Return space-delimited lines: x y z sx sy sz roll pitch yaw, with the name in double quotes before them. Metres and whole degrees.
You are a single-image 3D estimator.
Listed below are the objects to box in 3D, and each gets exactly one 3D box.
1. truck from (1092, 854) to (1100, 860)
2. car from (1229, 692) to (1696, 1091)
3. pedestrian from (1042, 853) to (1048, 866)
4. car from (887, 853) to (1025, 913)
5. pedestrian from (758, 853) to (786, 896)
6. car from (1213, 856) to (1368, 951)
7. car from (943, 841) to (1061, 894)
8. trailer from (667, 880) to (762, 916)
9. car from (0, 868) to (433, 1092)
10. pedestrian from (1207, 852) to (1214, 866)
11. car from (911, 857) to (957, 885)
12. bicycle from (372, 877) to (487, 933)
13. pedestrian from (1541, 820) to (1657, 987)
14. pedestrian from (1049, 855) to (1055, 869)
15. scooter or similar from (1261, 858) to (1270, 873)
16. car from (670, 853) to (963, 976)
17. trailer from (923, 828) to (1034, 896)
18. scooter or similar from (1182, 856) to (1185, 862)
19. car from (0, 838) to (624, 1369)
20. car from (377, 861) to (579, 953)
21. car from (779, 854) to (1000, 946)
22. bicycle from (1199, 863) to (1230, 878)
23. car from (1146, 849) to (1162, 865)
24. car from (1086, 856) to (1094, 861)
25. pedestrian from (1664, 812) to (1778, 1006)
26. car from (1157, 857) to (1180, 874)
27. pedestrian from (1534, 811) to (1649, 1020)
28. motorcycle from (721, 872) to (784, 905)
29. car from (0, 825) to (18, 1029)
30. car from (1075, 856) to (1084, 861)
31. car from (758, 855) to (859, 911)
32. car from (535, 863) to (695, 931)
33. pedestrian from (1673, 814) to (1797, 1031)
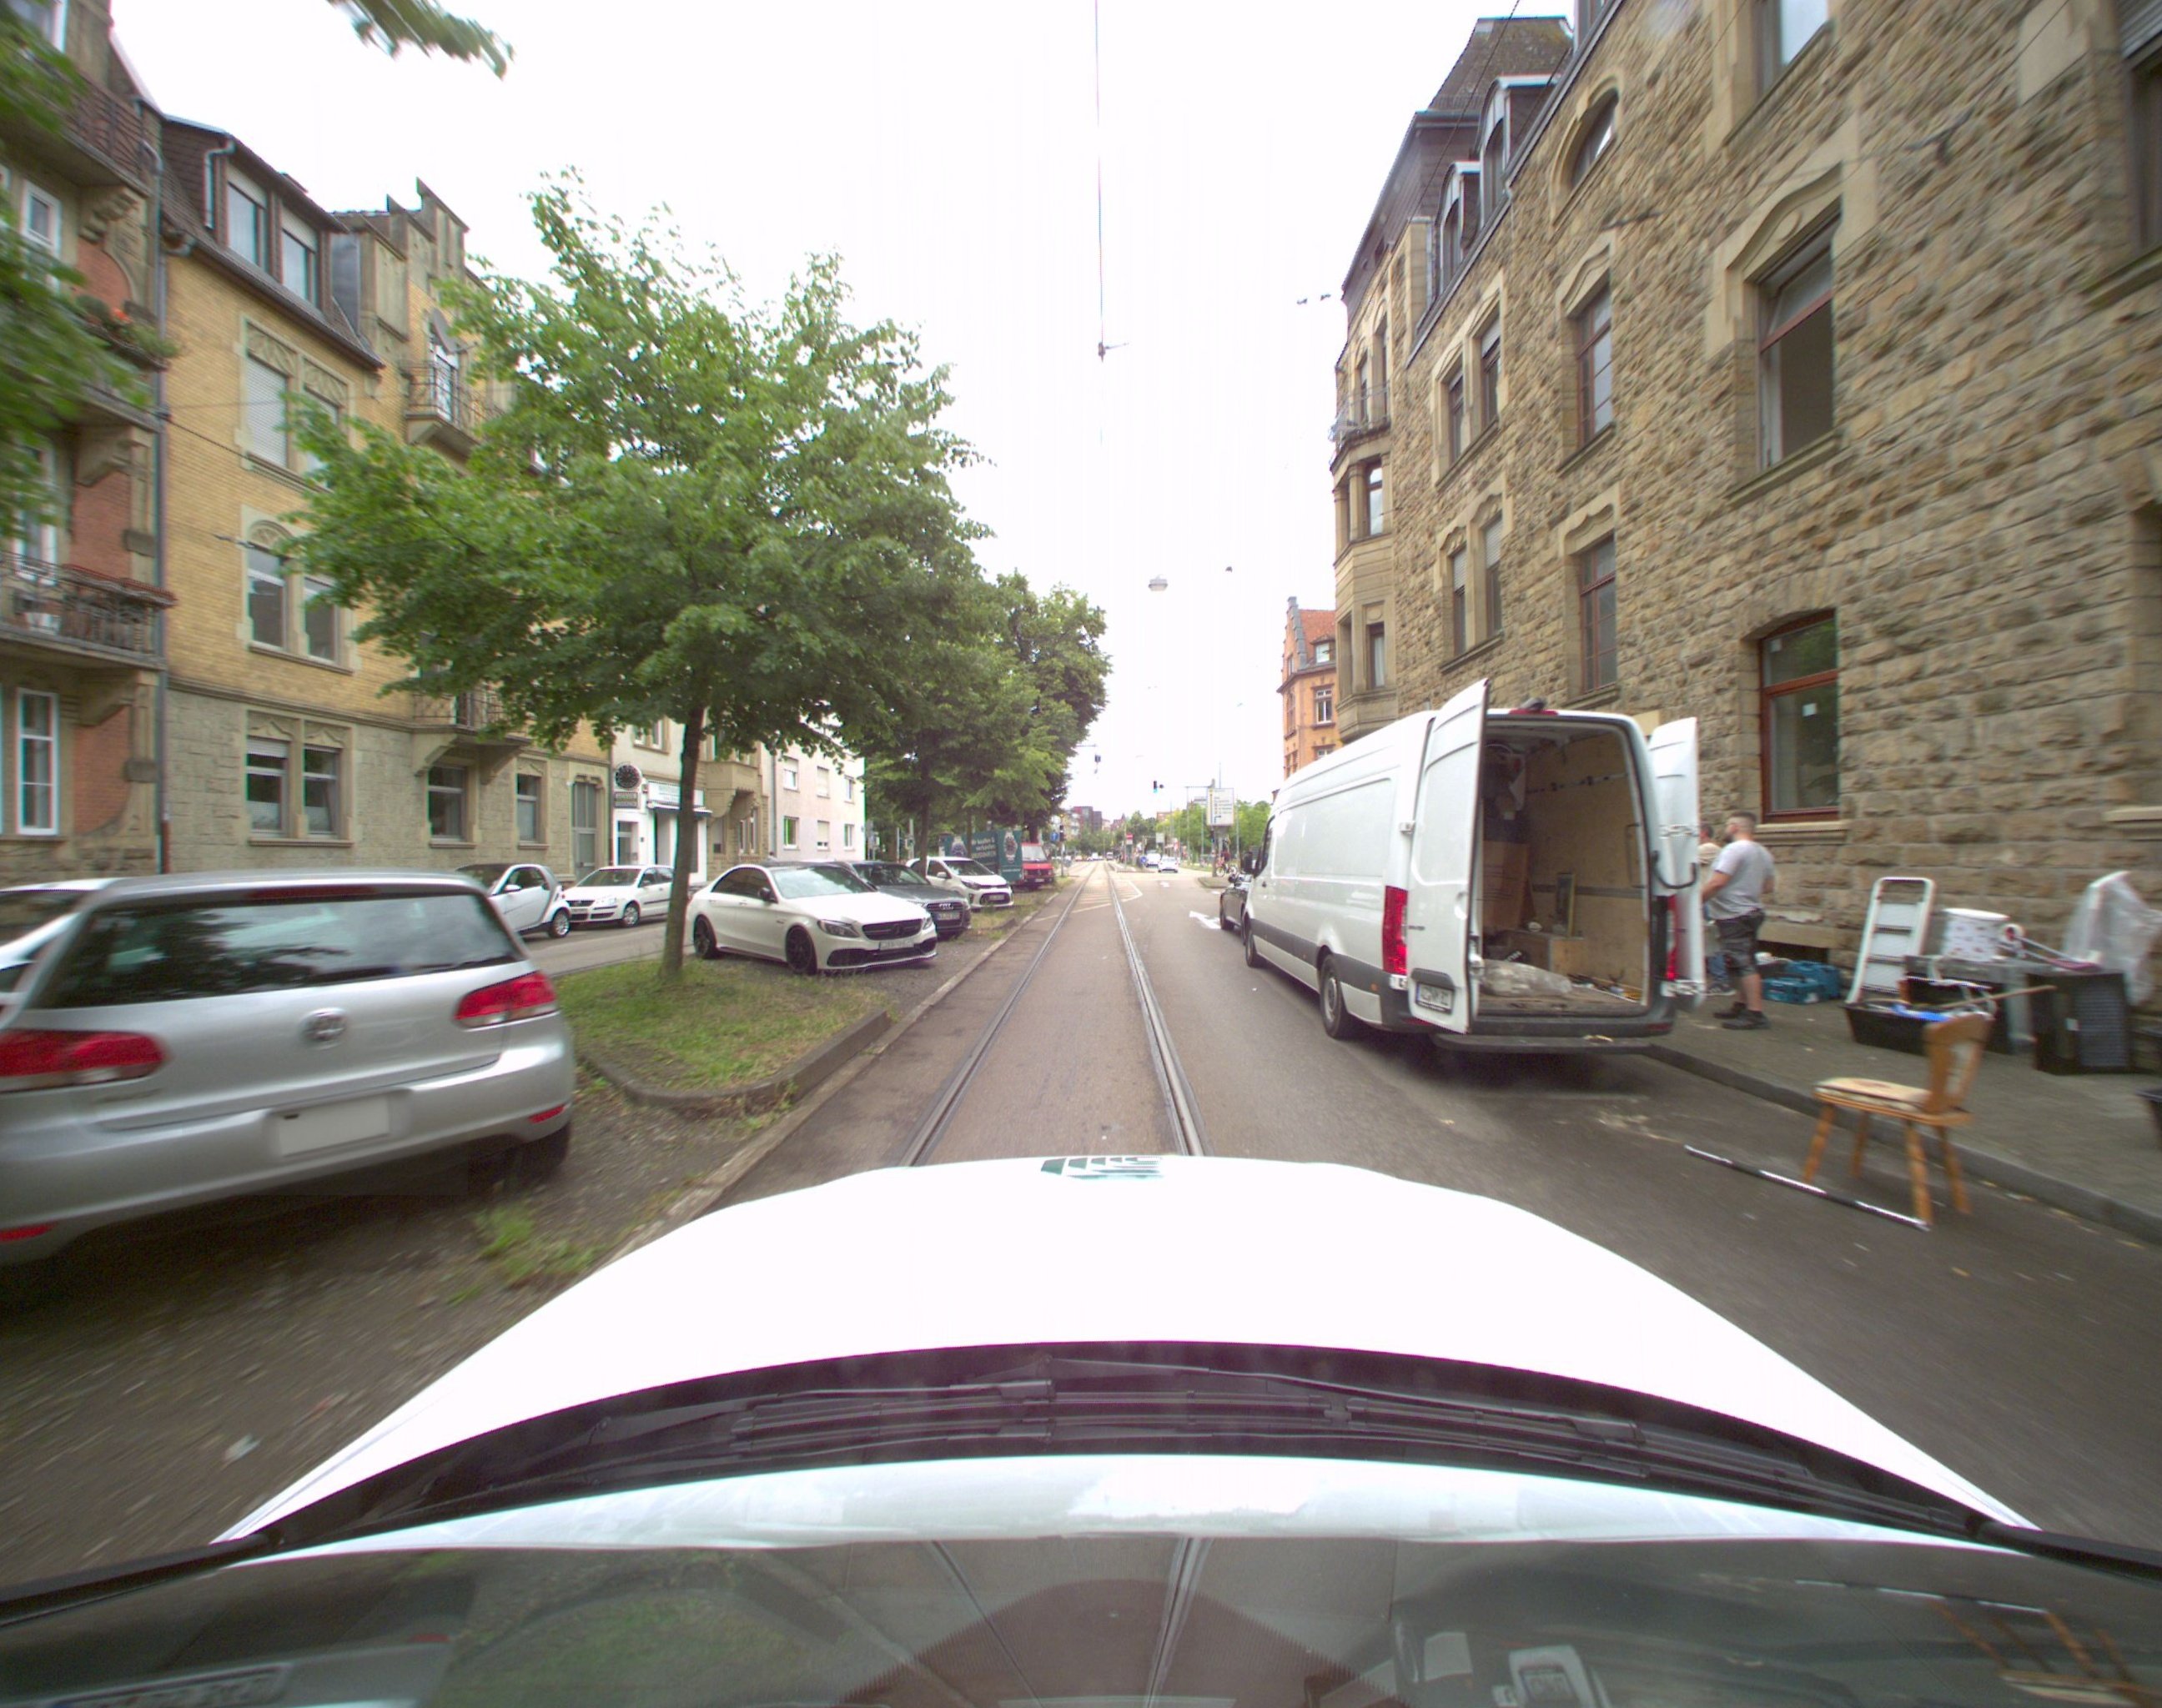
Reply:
"truck" 4.796 0.913 258.830 1.778 2.033 5.407 -1 -1 8
"car" 3.114 0.244 8.799 2.005 2.549 7.020 1 0 2
"pedestrian" -4.507 0.716 102.110 0.766 1.660 1.024 -1 -1 -1
"car" -3.443 0.733 21.991 3.815 1.463 1.700 -1 0 43
"pedestrian" -12.909 0.835 34.003 0.795 1.766 0.900 -1 -1 0
"car" 3.667 0.780 15.190 1.816 1.450 5.010 0 0 3
"car" -3.253 0.538 32.911 4.706 1.974 1.972 -1 0 40
"trailer" -10.999 1.295 24.642 1.450 0.893 3.076 -2 0 0
"car" -8.185 0.898 6.890 1.638 1.504 4.622 -1 -1 1
"pedestrian" 16.529 0.639 104.003 0.736 1.869 0.682 -1 -1 2
"car" -7.546 0.856 42.087 1.638 1.382 3.883 -1 -1 1
"bicycle" -14.140 1.073 17.773 0.708 1.073 2.259 0 0 0
"pedestrian" 5.591 0.516 8.807 0.863 1.700 0.535 -3 0 -13
"pedestrian" -3.514 0.931 98.732 0.699 1.715 0.697 -1 -1 -7
"scooter or similar" 13.999 0.861 61.907 0.375 1.141 1.199 -1 0 -1
"car" -3.990 0.736 11.842 4.628 1.435 1.911 -1 0 41
"trailer" -3.786 0.299 29.995 3.623 2.344 1.943 -1 0 34
"scooter or similar" 20.557 1.064 163.200 0.373 1.141 1.203 -1 0 12
"car" -4.063 0.711 4.168 4.065 1.484 1.808 -1 0 42
"car" -11.249 0.916 15.439 1.629 1.550 2.950 0 0 0
"car" -3.619 0.739 14.944 4.286 1.435 1.910 -1 0 43
"bicycle" 8.477 1.026 51.743 1.874 0.924 0.789 0 0 -31
"car" 9.312 0.388 103.830 1.776 1.962 4.383 0 0 1
"car" 2.679 1.477 244.646 1.760 1.493 3.895 -1 -1 8
"pedestrian" 5.982 0.491 7.632 0.507 1.717 0.579 -3 0 -9
"car" 8.018 1.045 75.237 1.776 1.472 4.011 0 0 1
"pedestrian" 4.723 0.542 7.584 0.497 1.815 0.803 -3 0 3
"motorcycle" -11.185 1.149 27.813 0.703 1.038 2.240 -1 -1 18
"car" -11.306 0.678 5.357 1.875 1.952 5.094 -1 -1 1
"car" -0.413 1.249 220.419 1.760 1.493 3.895 -1 -1 8
"car" -8.013 0.817 24.288 1.638 1.504 3.883 -1 -1 1
"car" -11.187 0.971 19.895 1.629 1.443 3.923 0 0 0
"pedestrian" 5.480 0.539 6.828 0.706 1.700 0.488 -3 0 -26
